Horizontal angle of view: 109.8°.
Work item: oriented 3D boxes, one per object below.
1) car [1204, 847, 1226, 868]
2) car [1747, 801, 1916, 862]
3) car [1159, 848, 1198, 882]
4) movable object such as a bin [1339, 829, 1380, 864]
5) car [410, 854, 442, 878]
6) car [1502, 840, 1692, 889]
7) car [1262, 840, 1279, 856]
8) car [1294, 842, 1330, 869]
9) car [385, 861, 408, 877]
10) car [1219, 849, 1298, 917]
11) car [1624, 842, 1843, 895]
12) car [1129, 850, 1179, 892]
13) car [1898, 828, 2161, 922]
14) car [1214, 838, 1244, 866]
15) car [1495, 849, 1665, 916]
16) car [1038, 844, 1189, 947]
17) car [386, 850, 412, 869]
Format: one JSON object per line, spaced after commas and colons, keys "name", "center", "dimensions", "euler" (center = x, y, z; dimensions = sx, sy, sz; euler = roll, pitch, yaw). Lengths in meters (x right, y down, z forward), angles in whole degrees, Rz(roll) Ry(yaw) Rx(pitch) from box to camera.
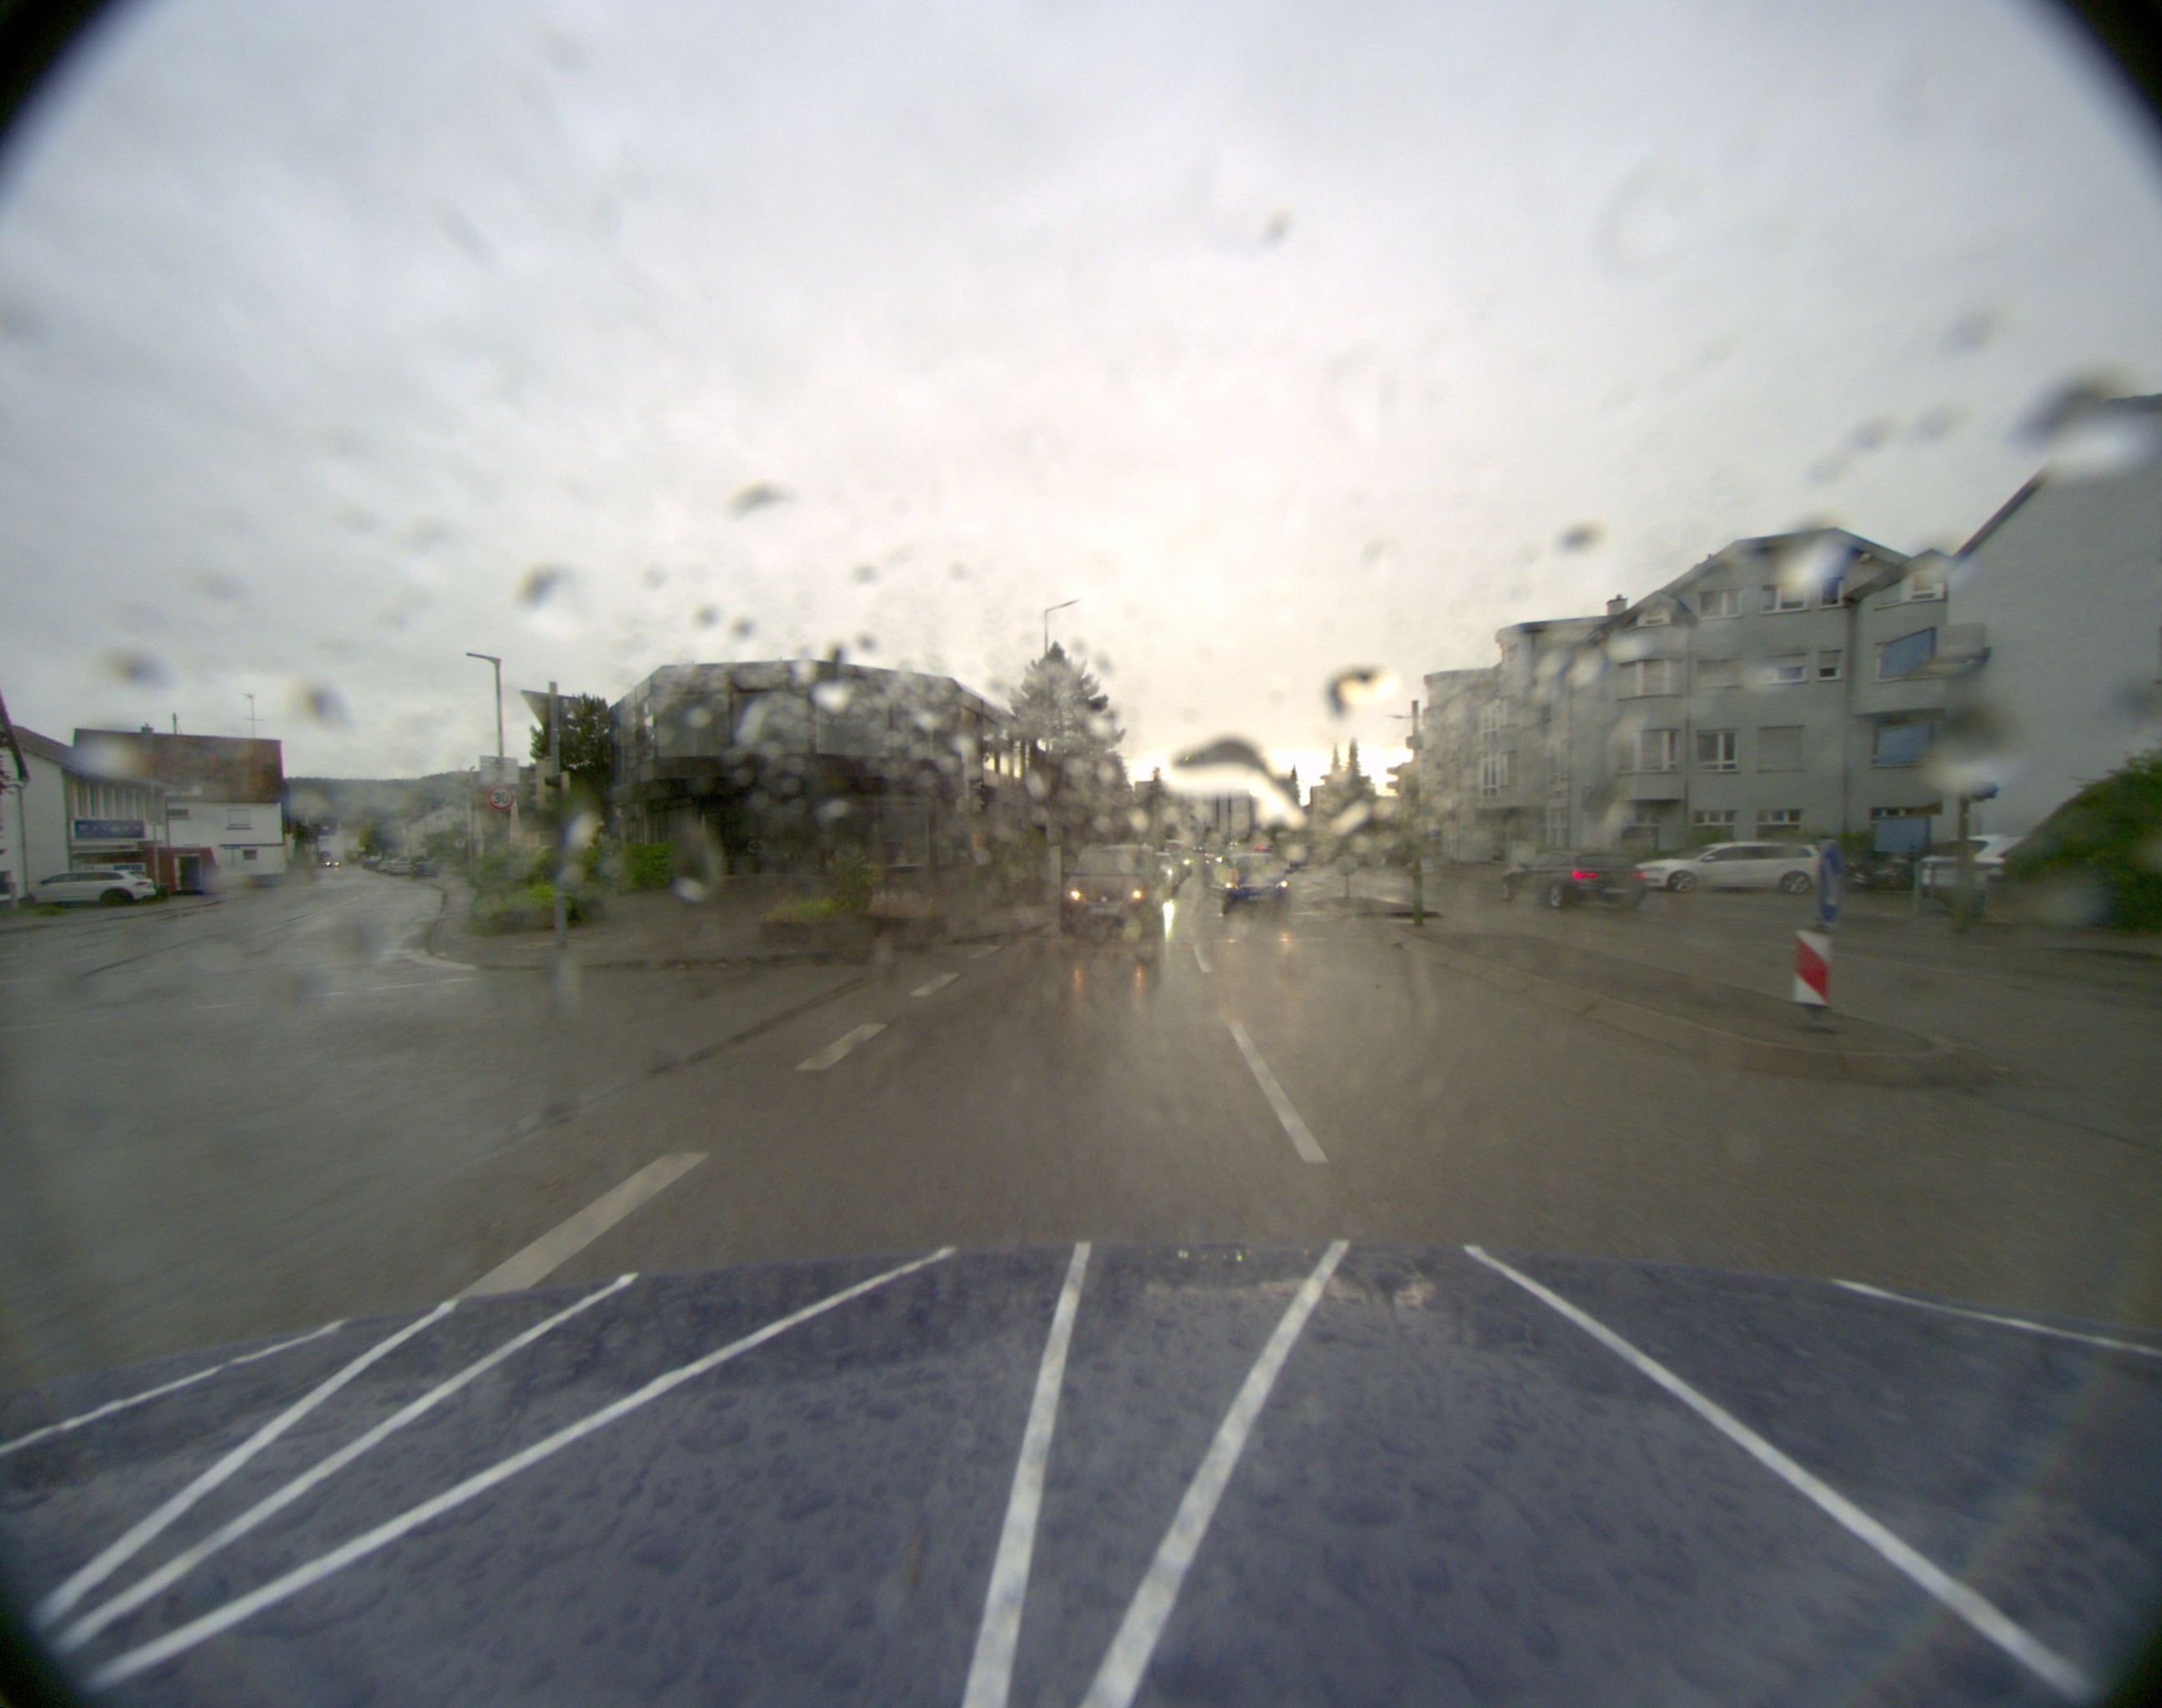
{"name": "car", "center": [13.028, 0.317, 74.000], "dimensions": [1.997, 1.849, 4.002], "euler": [1, 1, 9]}
{"name": "car", "center": [26.359, -0.753, 26.910], "dimensions": [3.988, 2.002, 2.004], "euler": [0, 1, 35]}
{"name": "car", "center": [5.796, 0.606, 44.799], "dimensions": [1.997, 1.849, 4.003], "euler": [1, 1, 10]}
{"name": "movable object such as a bin", "center": [23.088, -0.588, 62.976], "dimensions": [2.920, 2.825, 2.200], "euler": [-1, 1, 25]}
{"name": "car", "center": [-59.050, 1.064, 68.492], "dimensions": [2.004, 2.002, 3.988], "euler": [-2, 1, -42]}
{"name": "car", "center": [19.061, 0.373, 28.365], "dimensions": [5.471, 1.674, 2.149], "euler": [-1, 1, 11]}
{"name": "car", "center": [24.114, -0.794, 96.848], "dimensions": [1.997, 2.002, 4.003], "euler": [-1, 1, 12]}
{"name": "car", "center": [16.582, 0.105, 54.777], "dimensions": [2.100, 1.822, 4.737], "euler": [-1, 1, 12]}
{"name": "car", "center": [-89.381, 1.923, 99.187], "dimensions": [2.004, 2.002, 3.988], "euler": [-2, 1, -44]}
{"name": "car", "center": [4.428, 0.673, 19.314], "dimensions": [1.650, 1.547, 3.353], "euler": [-1, 1, 8]}
{"name": "car", "center": [19.419, 0.406, 22.877], "dimensions": [4.617, 1.488, 1.931], "euler": [-1, 1, 16]}
{"name": "car", "center": [2.967, 0.622, 30.195], "dimensions": [1.828, 1.431, 4.346], "euler": [-1, 1, 7]}
{"name": "car", "center": [19.588, 0.396, 15.231], "dimensions": [3.992, 1.740, 1.831], "euler": [-1, 1, 16]}
{"name": "car", "center": [10.917, -0.162, 55.748], "dimensions": [1.996, 2.002, 4.004], "euler": [-1, 1, 13]}
{"name": "car", "center": [12.260, 0.631, 19.031], "dimensions": [1.792, 1.464, 4.164], "euler": [-1, 1, 5]}
{"name": "car", "center": [0.867, 0.706, 15.560], "dimensions": [1.996, 1.739, 4.653], "euler": [-1, 1, 16]}
{"name": "car", "center": [-74.399, 0.607, 82.878], "dimensions": [2.004, 2.002, 3.988], "euler": [-2, 1, -43]}
